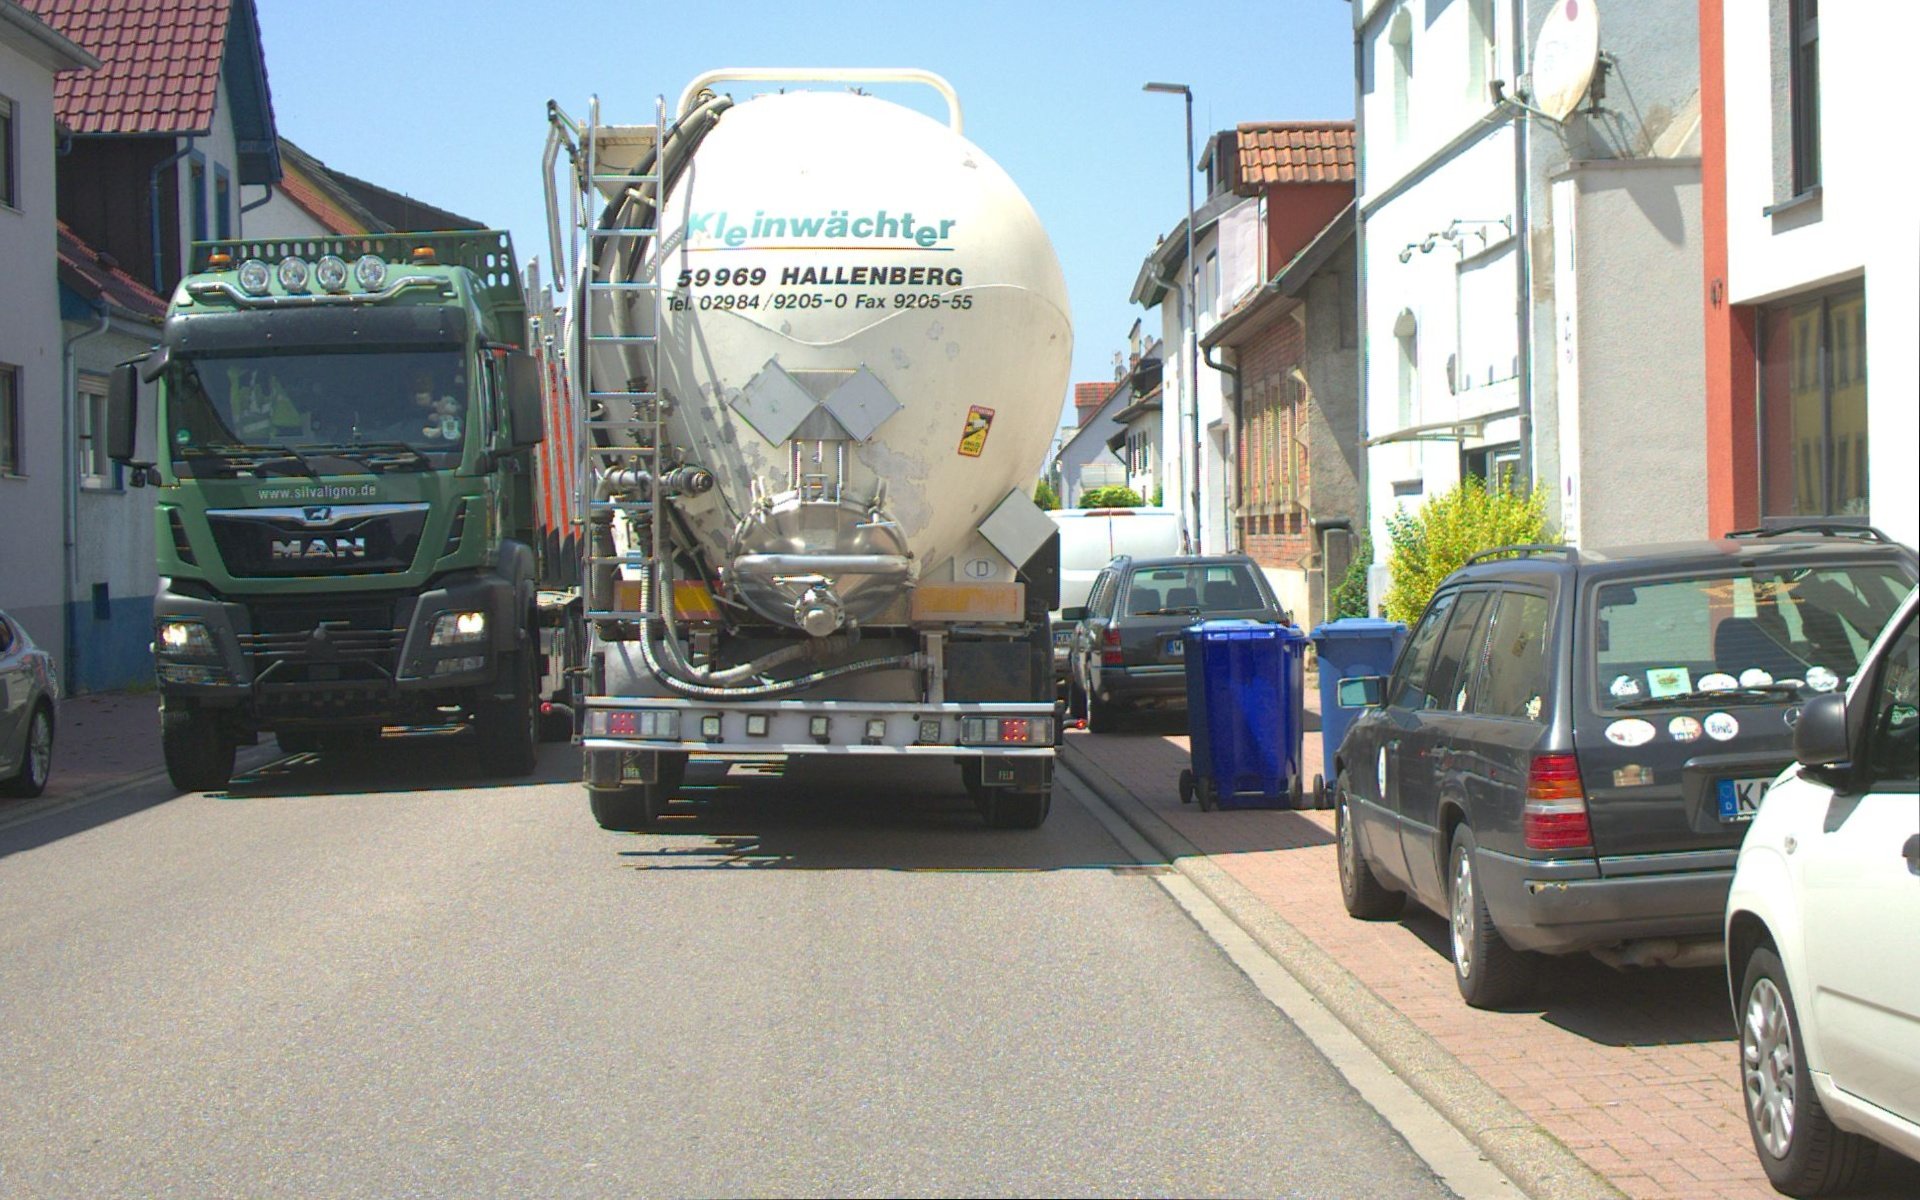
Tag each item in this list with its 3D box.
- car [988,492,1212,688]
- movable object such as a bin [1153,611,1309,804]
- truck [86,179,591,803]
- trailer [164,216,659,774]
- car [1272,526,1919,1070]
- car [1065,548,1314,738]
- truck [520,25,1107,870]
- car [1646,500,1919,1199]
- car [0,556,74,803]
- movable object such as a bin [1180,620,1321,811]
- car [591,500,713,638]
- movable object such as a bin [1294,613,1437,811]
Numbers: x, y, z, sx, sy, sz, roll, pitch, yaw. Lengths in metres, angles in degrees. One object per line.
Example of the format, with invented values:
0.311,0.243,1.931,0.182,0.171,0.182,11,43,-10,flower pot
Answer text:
1.460,-0.144,37.762,1.946,1.963,4.786,-2,1,-3,car
1.623,0.630,20.472,0.722,1.069,0.971,-3,1,15,movable object such as a bin
-4.433,-0.762,25.938,2.618,3.972,6.853,-3,1,-2,truck
-4.699,-0.877,33.016,2.630,3.965,15.700,-3,1,-2,trailer
2.273,0.516,12.148,1.700,1.442,4.837,-4,1,-1,car
1.910,0.311,29.881,1.770,1.461,4.578,-2,1,-1,car
-0.788,-0.756,20.173,2.732,3.946,8.142,0,1,-1,truck
2.534,0.536,6.482,1.606,1.517,3.545,-4,1,-1,car
-6.990,0.501,21.454,1.808,1.552,4.565,1,1,-1,car
1.670,0.656,19.720,0.656,1.031,0.684,-3,1,15,movable object such as a bin
-6.055,-0.640,68.108,2.125,2.533,5.462,-2,1,-3,car
2.311,0.627,19.545,0.654,1.056,0.835,-3,1,15,movable object such as a bin
